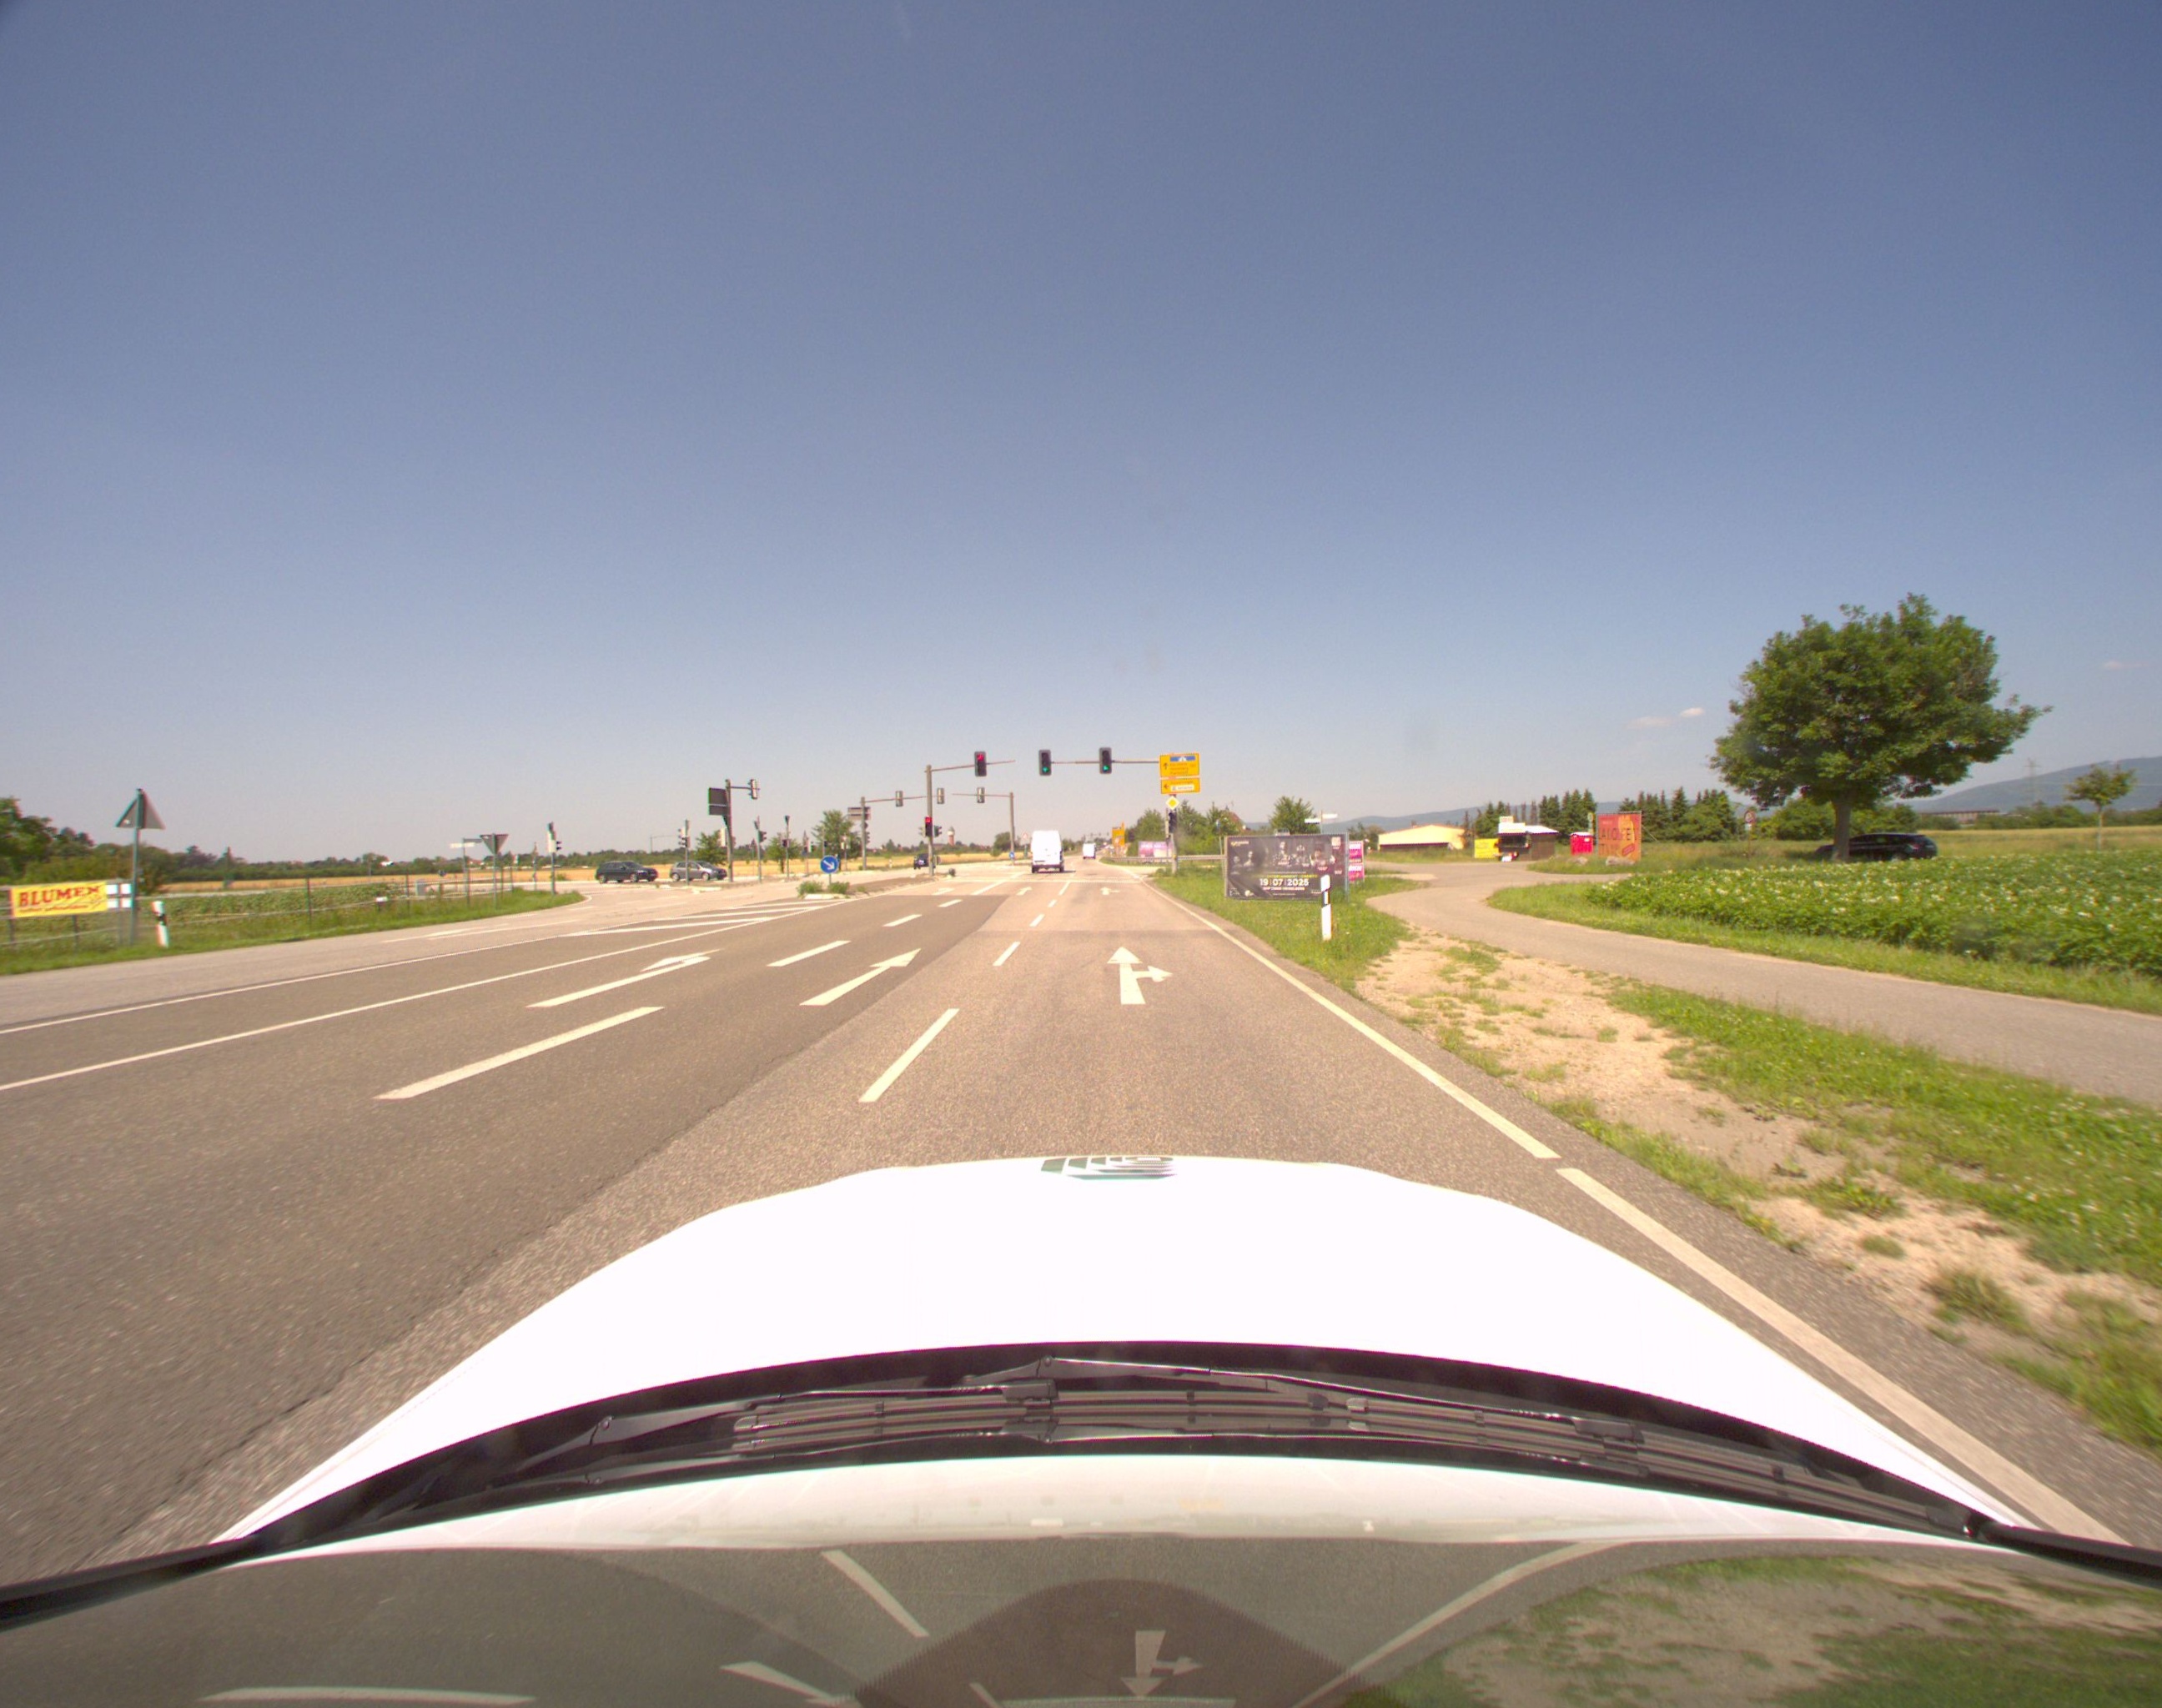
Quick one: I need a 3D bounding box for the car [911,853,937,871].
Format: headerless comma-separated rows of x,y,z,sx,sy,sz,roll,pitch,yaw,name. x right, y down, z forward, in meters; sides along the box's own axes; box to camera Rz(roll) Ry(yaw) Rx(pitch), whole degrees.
-15.178,0.743,79.049,1.826,1.600,4.300,-2,0,-3,car

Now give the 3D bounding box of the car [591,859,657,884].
-34.106,1.305,60.818,4.322,1.594,1.642,-3,0,16,car

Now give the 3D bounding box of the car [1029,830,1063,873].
-2.190,-0.180,52.846,2.033,2.620,5.739,-1,0,-1,car

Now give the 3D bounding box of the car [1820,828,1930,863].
37.828,-0.414,38.937,1.748,1.527,3.889,-1,0,6,car

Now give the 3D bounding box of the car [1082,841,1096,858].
1.299,-0.752,135.223,1.984,2.695,4.975,0,-1,4,car

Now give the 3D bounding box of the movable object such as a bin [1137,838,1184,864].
7.105,-0.262,73.018,4.085,2.331,1.276,0,0,-4,movable object such as a bin

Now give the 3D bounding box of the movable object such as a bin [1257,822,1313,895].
7.238,0.159,28.615,1.509,2.363,4.446,0,0,19,movable object such as a bin

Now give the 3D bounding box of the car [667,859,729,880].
-27.976,1.147,59.531,3.840,1.387,1.641,-1,1,14,car
